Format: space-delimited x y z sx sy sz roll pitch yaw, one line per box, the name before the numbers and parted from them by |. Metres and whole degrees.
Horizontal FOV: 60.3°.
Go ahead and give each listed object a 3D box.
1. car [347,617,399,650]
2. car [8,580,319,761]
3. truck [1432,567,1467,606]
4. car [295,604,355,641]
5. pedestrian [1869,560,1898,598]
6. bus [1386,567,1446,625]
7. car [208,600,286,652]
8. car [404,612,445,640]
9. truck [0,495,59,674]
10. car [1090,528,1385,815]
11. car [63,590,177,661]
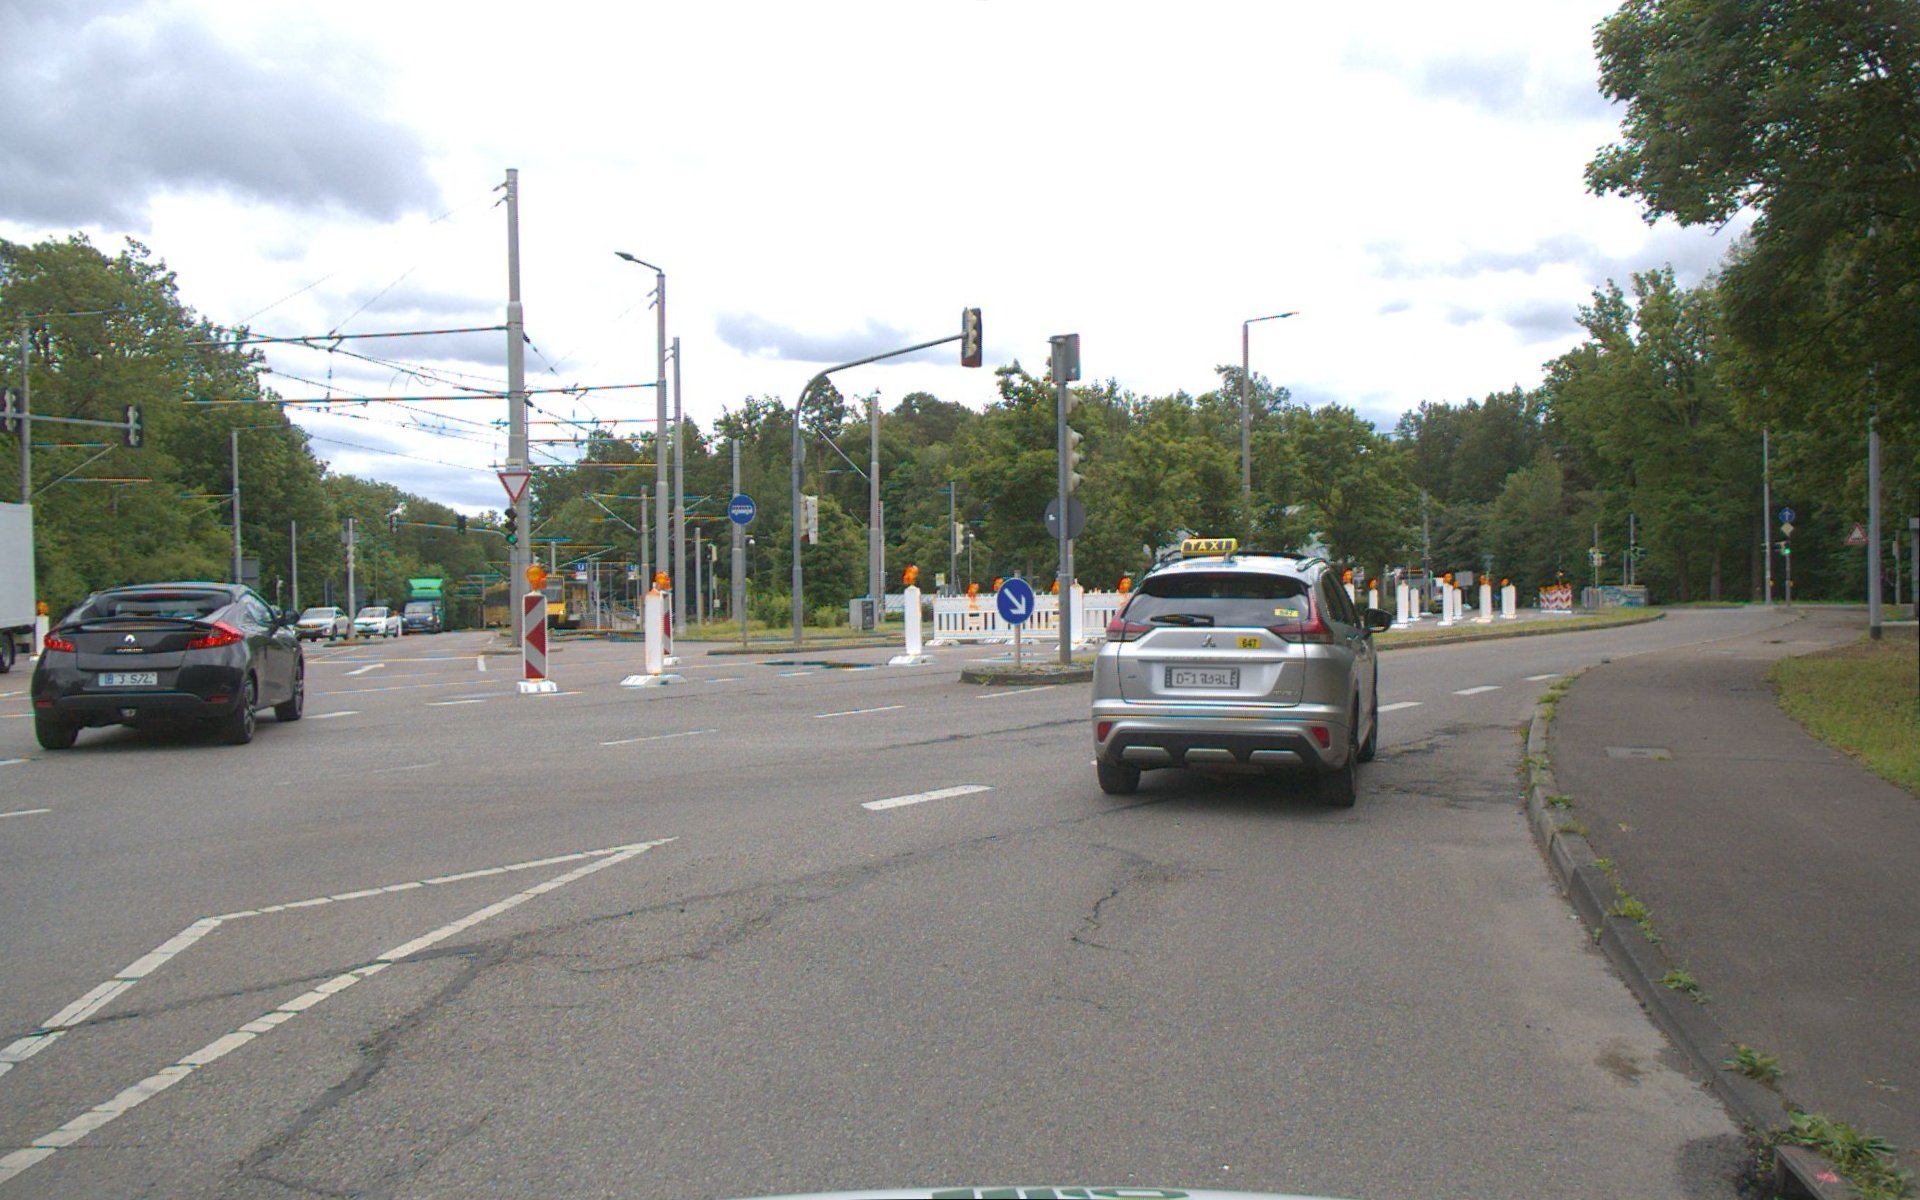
car | -29.763 1.692 83.918 1.928 1.568 4.381 -1 0 -13
car | -7.067 0.576 15.038 1.743 1.385 3.465 -2 0 -12
truck | 44.071 -1.195 149.150 2.431 3.344 8.526 -2 0 13
car | -29.331 1.025 76.513 1.928 1.635 4.296 -1 0 -13
pedestrian | 37.802 -0.856 67.720 0.784 1.532 0.830 -1 0 -42
bus | 31.054 -0.297 113.140 2.761 3.666 12.815 -1 0 10
car | -27.755 0.990 64.531 1.928 1.877 4.674 -1 0 -13
car | -32.108 1.521 99.286 1.928 1.567 4.296 -1 0 -13
truck | -18.717 -0.252 29.970 2.408 3.280 7.128 -2 0 -14
car | 2.210 0.457 12.324 1.736 1.779 3.783 0 -1 16
car | -22.553 0.665 44.587 1.931 1.780 4.822 -1 0 -18
